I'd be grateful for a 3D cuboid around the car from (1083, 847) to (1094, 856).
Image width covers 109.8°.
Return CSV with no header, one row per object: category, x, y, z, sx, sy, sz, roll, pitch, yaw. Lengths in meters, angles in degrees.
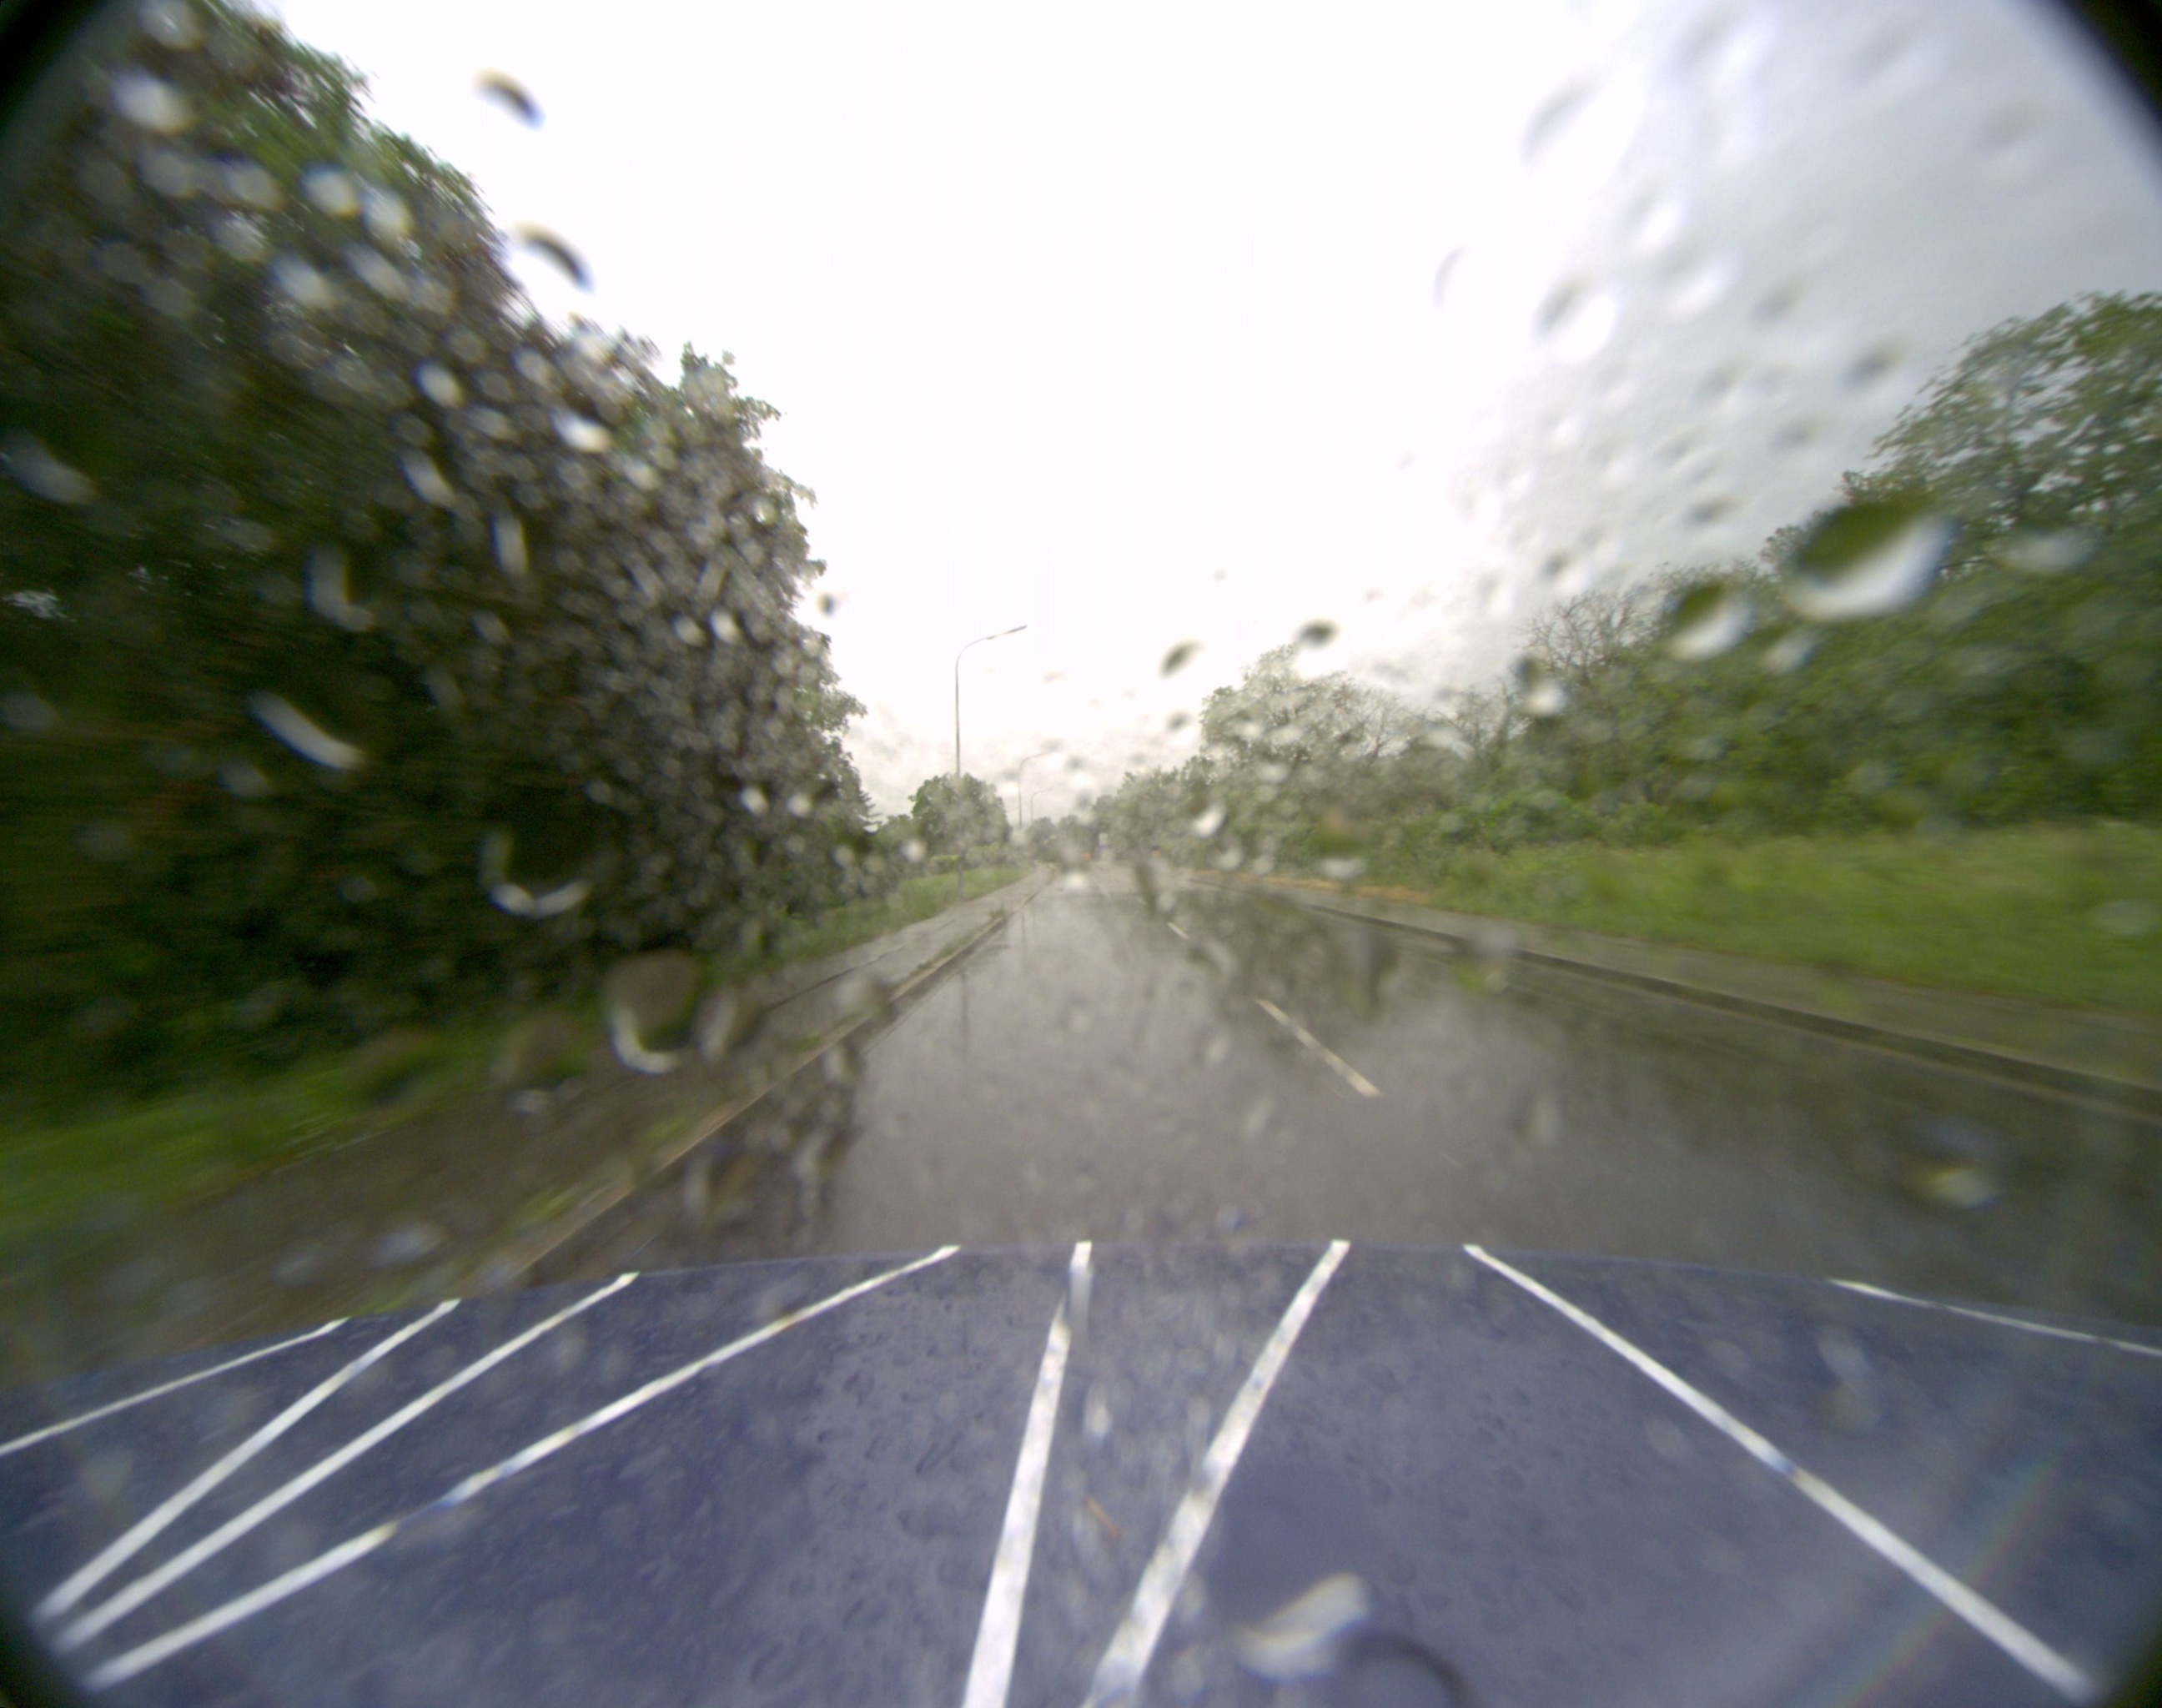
car,1.519,-0.529,158.373,1.999,1.865,4.468,-3,0,-3
